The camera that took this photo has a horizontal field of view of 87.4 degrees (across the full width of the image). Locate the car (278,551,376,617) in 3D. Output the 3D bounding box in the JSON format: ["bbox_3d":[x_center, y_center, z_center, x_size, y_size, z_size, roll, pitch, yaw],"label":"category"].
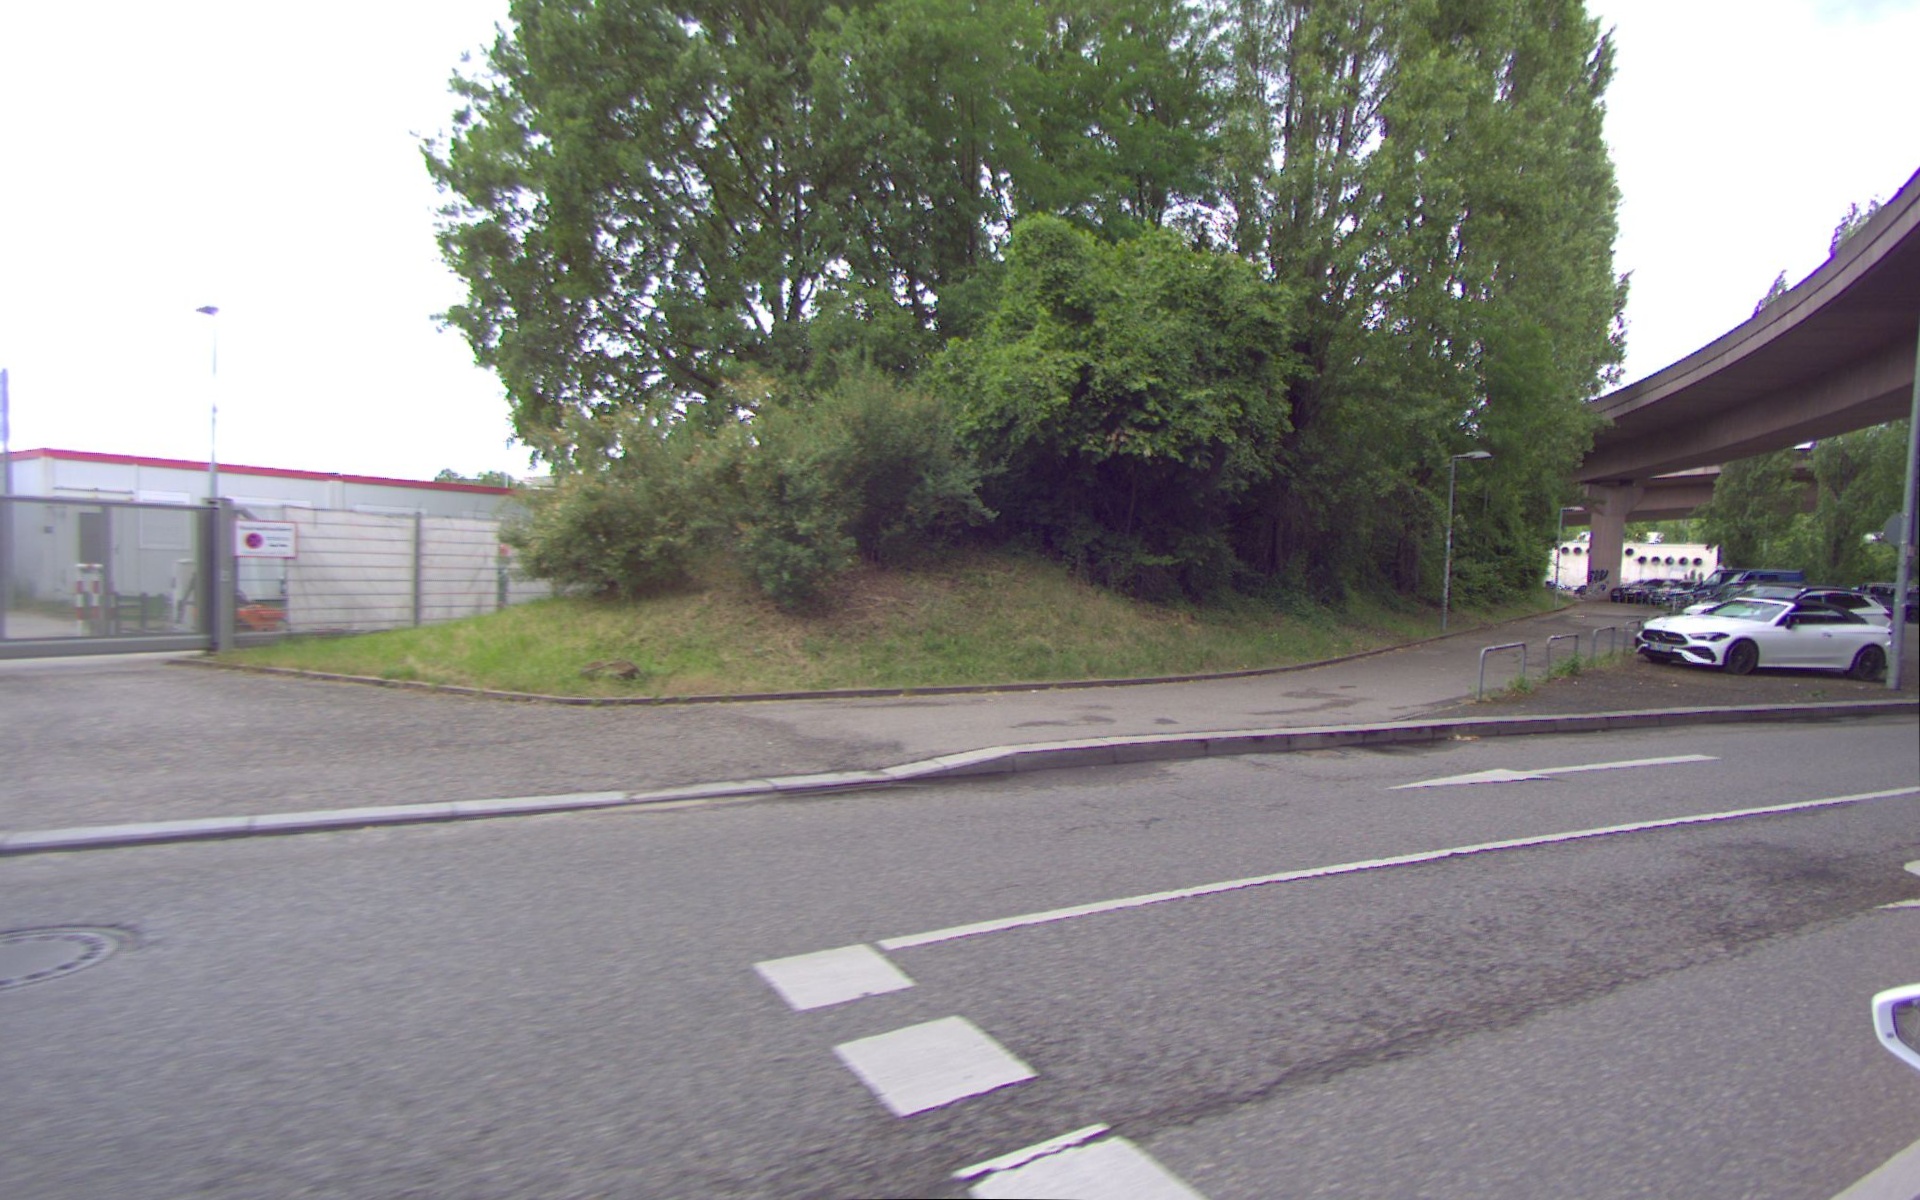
[{"bbox_3d":[-15.675,-0.384,24.803,1.555,1.499,3.527,1,0,-40],"label":"car"}]

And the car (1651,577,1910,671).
[{"bbox_3d":[18.241,0.508,22.445,4.321,1.604,1.996,4,5,-10],"label":"car"}]

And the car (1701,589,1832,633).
[{"bbox_3d":[33.795,0.455,42.173,4.075,1.698,1.900,1,1,-5],"label":"car"}]

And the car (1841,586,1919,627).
[{"bbox_3d":[51.677,0.387,54.673,2.230,2.099,5.072,3,1,-26],"label":"car"}]

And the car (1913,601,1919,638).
[{"bbox_3d":[47.445,0.967,46.990,2.006,1.763,3.951,1,0,-41],"label":"car"}]

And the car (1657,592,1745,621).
[{"bbox_3d":[41.749,0.365,56.629,3.816,1.494,1.791,2,1,-8],"label":"car"}]

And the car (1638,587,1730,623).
[{"bbox_3d":[42.741,0.285,59.318,4.220,1.825,1.845,-3,0,-6],"label":"car"}]

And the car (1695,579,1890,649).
[{"bbox_3d":[23.357,0.371,28.272,4.087,1.714,1.860,3,2,-7],"label":"car"}]

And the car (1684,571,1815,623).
[{"bbox_3d":[37.902,-0.143,48.273,4.927,2.285,2.121,2,0,-10],"label":"car"}]

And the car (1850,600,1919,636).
[{"bbox_3d":[47.781,0.920,50.760,1.985,1.753,3.951,1,0,-41],"label":"car"}]

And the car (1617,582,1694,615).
[{"bbox_3d":[44.941,-0.087,64.917,4.012,1.735,1.654,4,4,-13],"label":"car"}]

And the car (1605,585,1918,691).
[{"bbox_3d":[15.484,0.710,19.518,4.743,1.499,1.996,4,5,-10],"label":"car"}]

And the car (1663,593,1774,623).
[{"bbox_3d":[40.365,0.441,53.494,4.558,1.454,1.998,2,0,-6],"label":"car"}]
